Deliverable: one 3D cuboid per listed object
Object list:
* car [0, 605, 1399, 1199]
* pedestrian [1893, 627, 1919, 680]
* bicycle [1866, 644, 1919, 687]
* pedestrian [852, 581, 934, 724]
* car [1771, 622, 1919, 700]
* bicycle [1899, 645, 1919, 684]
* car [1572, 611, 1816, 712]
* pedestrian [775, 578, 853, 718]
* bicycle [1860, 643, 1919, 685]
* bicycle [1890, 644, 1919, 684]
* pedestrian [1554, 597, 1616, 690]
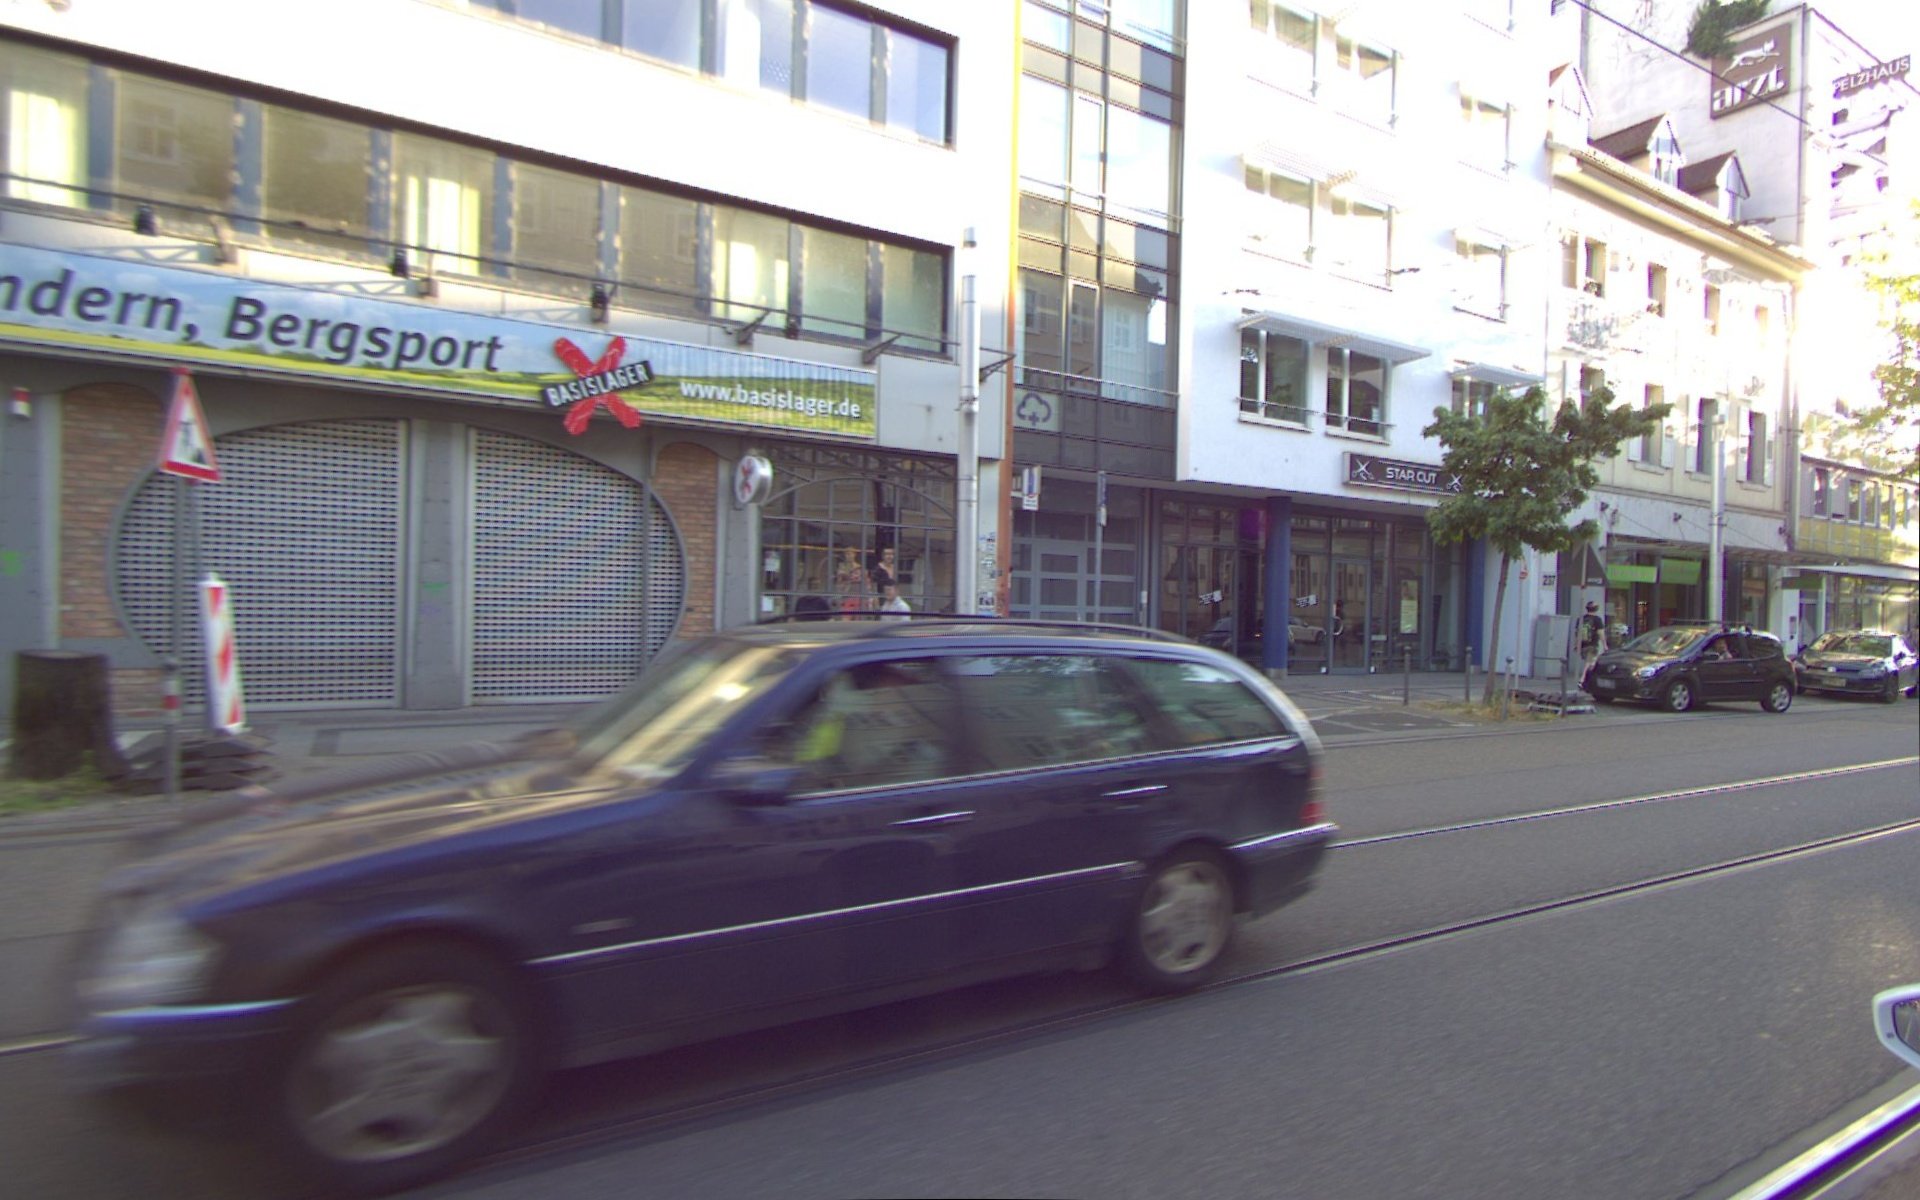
[{"bbox_3d":[-0.485,0.783,3.966,4.474,1.426,1.770,1,0,-30],"label":"car"},{"bbox_3d":[31.796,1.771,33.474,0.903,1.716,0.785,1,0,-31],"label":"pedestrian"},{"bbox_3d":[24.043,1.657,25.203,0.326,1.014,1.963,1,0,-27],"label":"bicycle"},{"bbox_3d":[-0.848,0.642,12.632,0.818,1.736,0.639,1,1,-26],"label":"pedestrian"},{"bbox_3d":[20.066,1.323,22.608,4.202,1.510,1.779,2,1,-37],"label":"car"},{"bbox_3d":[25.569,1.713,25.902,0.326,1.014,1.963,1,0,-27],"label":"bicycle"},{"bbox_3d":[13.335,1.099,18.296,3.647,1.638,1.630,1,2,-16],"label":"car"},{"bbox_3d":[-1.875,0.597,12.895,0.797,1.736,0.625,1,1,-26],"label":"pedestrian"},{"bbox_3d":[24.870,1.683,26.258,0.414,1.014,1.965,1,0,-25],"label":"bicycle"},{"bbox_3d":[25.751,1.719,26.358,0.326,1.014,1.963,1,0,-27],"label":"bicycle"},{"bbox_3d":[12.993,0.898,20.884,0.868,1.850,0.656,1,3,-30],"label":"pedestrian"}]
